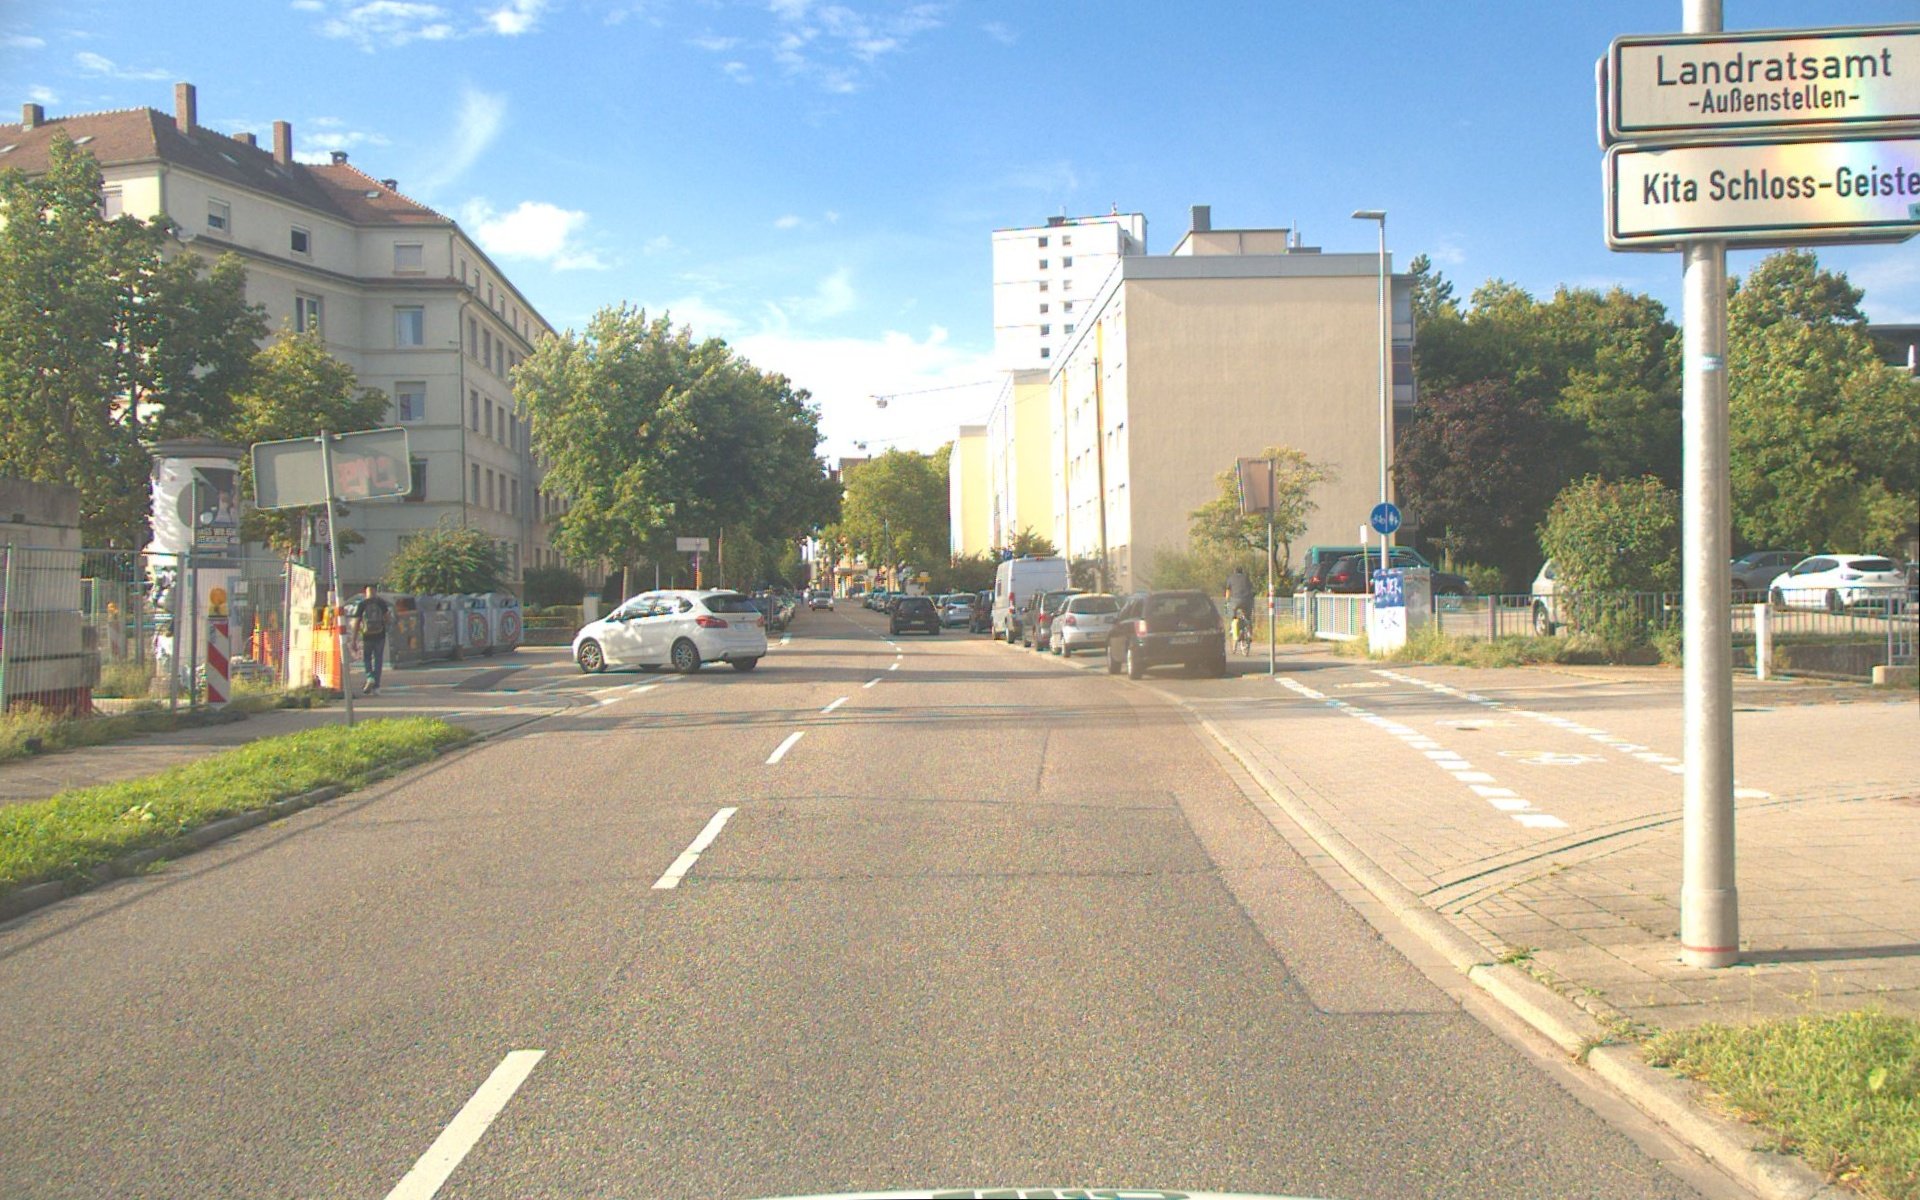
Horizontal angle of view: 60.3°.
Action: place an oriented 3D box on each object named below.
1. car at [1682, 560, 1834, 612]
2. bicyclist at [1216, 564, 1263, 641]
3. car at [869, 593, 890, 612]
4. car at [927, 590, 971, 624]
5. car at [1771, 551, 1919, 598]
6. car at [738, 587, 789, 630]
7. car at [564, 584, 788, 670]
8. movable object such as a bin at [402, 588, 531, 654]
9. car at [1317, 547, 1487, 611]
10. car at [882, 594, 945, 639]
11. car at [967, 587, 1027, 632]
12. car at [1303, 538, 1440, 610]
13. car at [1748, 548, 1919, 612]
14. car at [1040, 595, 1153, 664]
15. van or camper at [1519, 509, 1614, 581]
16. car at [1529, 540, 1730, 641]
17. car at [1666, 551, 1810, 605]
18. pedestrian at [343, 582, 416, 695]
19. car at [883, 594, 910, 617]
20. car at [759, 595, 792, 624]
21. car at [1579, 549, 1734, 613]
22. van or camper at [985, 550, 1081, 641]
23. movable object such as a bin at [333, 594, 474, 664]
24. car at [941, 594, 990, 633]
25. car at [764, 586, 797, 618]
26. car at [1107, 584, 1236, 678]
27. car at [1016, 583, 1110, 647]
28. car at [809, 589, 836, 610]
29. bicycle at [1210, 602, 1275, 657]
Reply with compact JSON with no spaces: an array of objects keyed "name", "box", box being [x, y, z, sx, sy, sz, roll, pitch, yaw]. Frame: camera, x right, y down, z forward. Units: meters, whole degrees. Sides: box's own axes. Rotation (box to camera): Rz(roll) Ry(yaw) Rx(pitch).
[{"name":"car","box":[25.593,-0.445,53.123,3.908,1.512,1.999,-2,0,-3]},{"name":"bicyclist","box":[5.823,0.054,34.476,0.722,1.540,0.874,-4,0,-3]},{"name":"car","box":[-7.774,0.254,160.233,1.953,1.786,3.999,0,0,-2]},{"name":"car","box":[-0.545,0.340,81.519,1.954,1.556,3.998,-2,0,-3]},{"name":"car","box":[26.056,-0.729,48.169,3.903,1.333,2.001,0,0,3]},{"name":"car","box":[-8.127,0.341,68.131,1.956,1.668,3.992,-2,0,-8]},{"name":"car","box":[-5.593,0.518,32.422,4.188,1.582,1.993,-1,0,36]},{"name":"movable object such as a bin","box":[-13.331,0.564,44.731,3.037,1.738,1.411,0,0,11]},{"name":"car","box":[12.726,-0.614,47.827,4.356,1.650,2.000,-2,0,1]},{"name":"car","box":[-1.790,0.589,62.296,1.956,1.598,3.993,-1,0,-8]},{"name":"car","box":[1.384,0.341,63.213,1.954,1.601,3.998,-2,0,-3]},{"name":"car","box":[13.728,-0.869,55.325,4.034,2.224,2.000,-2,0,1]},{"name":"car","box":[22.030,-0.493,41.707,1.957,1.467,3.992,-2,0,-9]},{"name":"car","box":[3.285,0.708,40.827,1.976,1.500,4.797,-3,0,-5]},{"name":"van or camper","box":[27.271,-2.418,74.568,2.282,2.924,5.121,-4,0,0]},{"name":"car","box":[12.377,-0.179,30.870,1.953,1.694,4.150,-2,0,-1]},{"name":"car","box":[26.170,-0.734,55.715,3.908,1.624,1.999,-2,0,-3]},{"name":"pedestrian","box":[-9.351,0.610,26.690,0.990,1.758,1.174,-1,-1,-14]},{"name":"car","box":[-4.988,0.440,129.478,1.954,1.713,3.998,-2,0,-3]},{"name":"car","box":[-10.991,0.561,98.387,1.773,1.588,3.427,-2,0,-8]},{"name":"car","box":[17.534,-0.460,41.830,1.955,1.467,3.996,-2,0,-5]},{"name":"van or camper","box":[2.238,-0.147,52.314,2.167,2.652,5.365,-2,0,-6]},{"name":"movable object such as a bin","box":[-14.092,0.726,41.920,3.037,1.738,1.549,0,0,13]},{"name":"car","box":[0.210,0.588,73.725,1.954,1.601,3.998,-2,0,-3]},{"name":"car","box":[-12.443,0.130,114.703,1.954,2.049,3.998,-2,0,-3]},{"name":"car","box":[3.708,0.526,29.703,1.682,1.522,4.267,-1,0,-1]},{"name":"car","box":[2.826,0.384,46.300,1.955,1.644,4.403,-2,0,-5]},{"name":"car","box":[-11.831,-0.076,141.815,2.017,1.692,3.919,-2,0,-8]},{"name":"bicycle","box":[5.861,0.590,34.453,0.725,1.052,2.761,-4,0,-2]}]
